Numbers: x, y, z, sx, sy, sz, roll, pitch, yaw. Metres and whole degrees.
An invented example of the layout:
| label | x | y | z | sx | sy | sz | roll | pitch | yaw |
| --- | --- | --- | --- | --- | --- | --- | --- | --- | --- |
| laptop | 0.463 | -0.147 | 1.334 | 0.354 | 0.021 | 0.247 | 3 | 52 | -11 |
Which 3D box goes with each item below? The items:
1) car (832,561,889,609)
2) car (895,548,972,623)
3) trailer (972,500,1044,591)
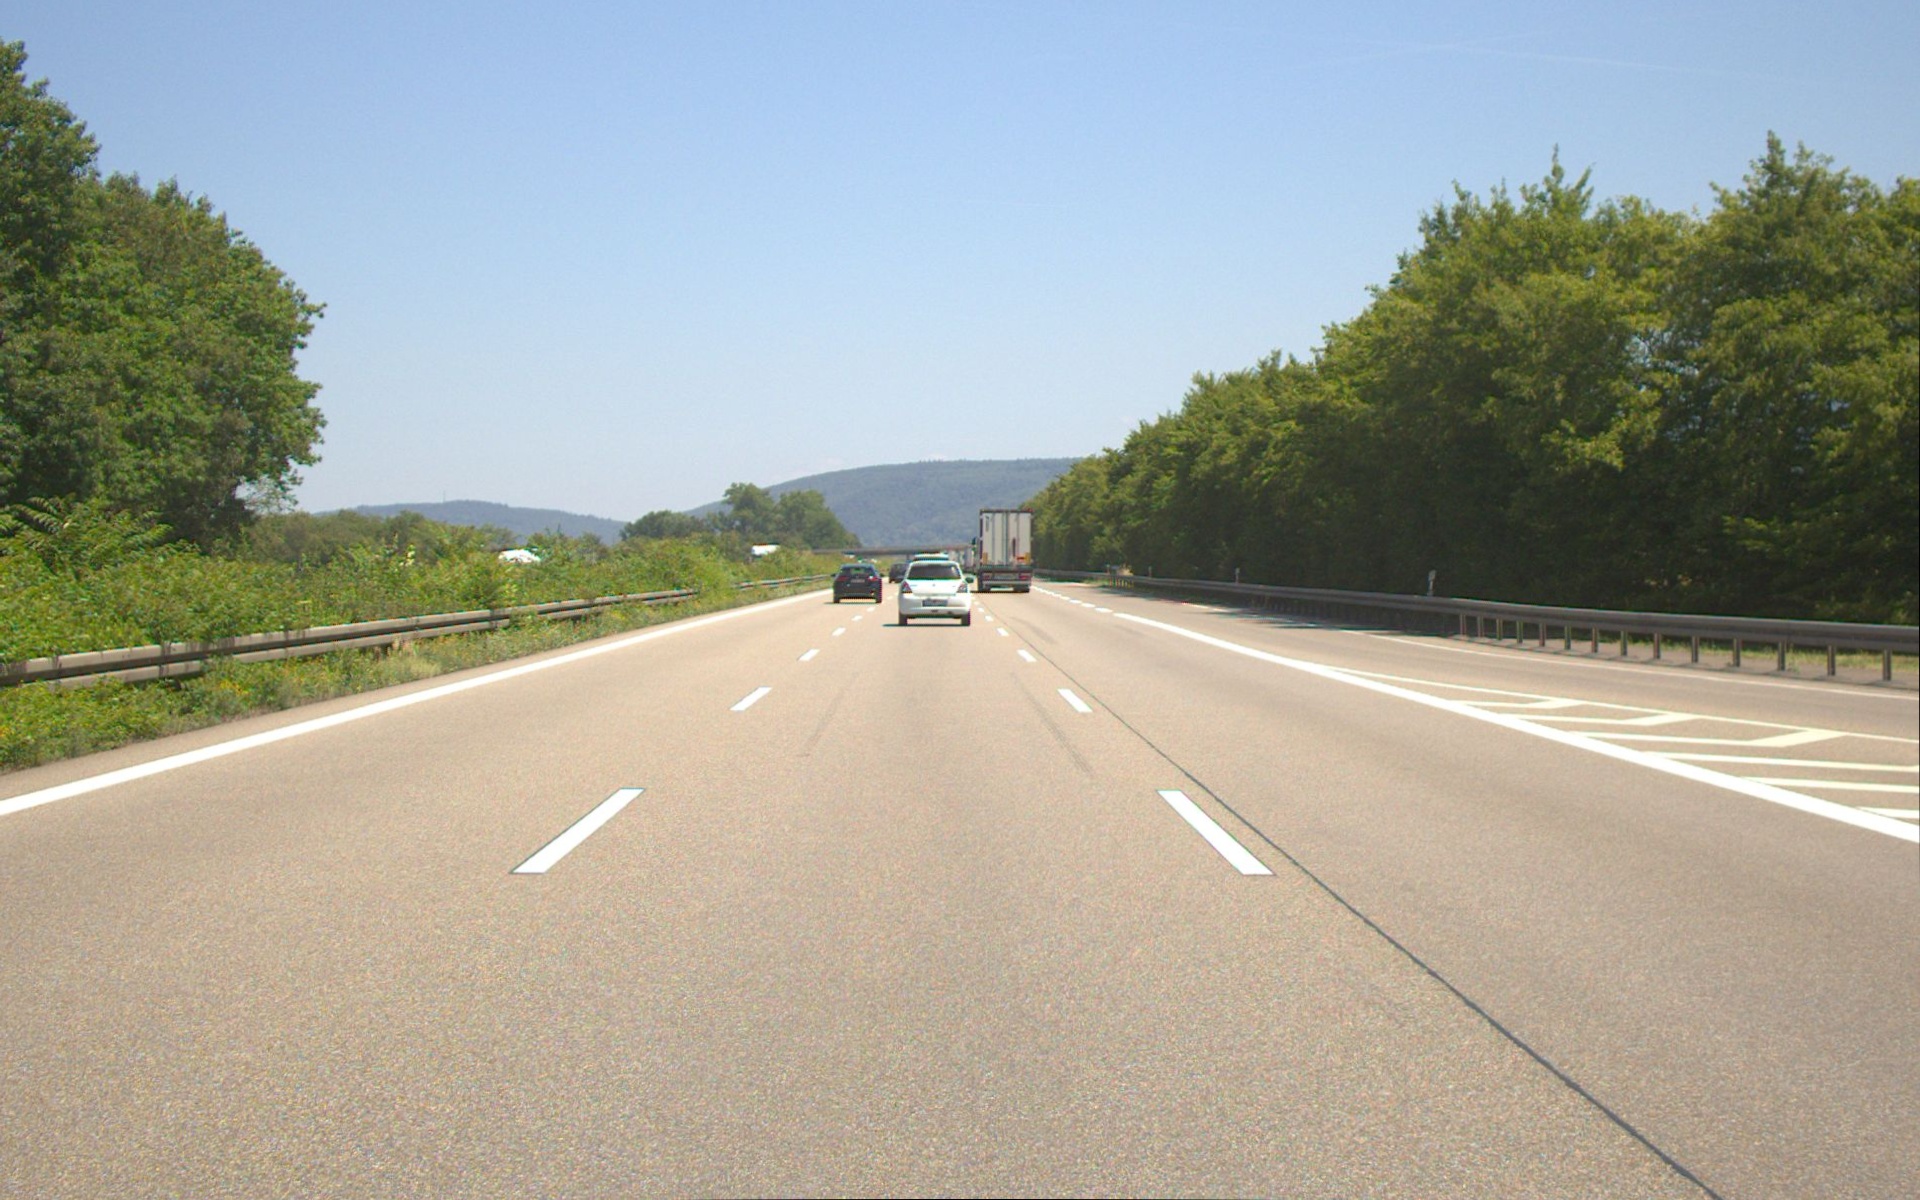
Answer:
| label | x | y | z | sx | sy | sz | roll | pitch | yaw |
| --- | --- | --- | --- | --- | --- | --- | --- | --- | --- |
| car | -3.629 | -0.559 | 125.552 | 1.993 | 1.706 | 4.000 | 1 | 1 | -1 |
| car | -0.643 | -0.354 | 80.707 | 1.732 | 1.678 | 4.000 | -1 | 1 | -1 |
| trailer | 2.503 | -2.702 | 173.299 | 3.218 | 4.330 | 13.628 | 1 | 1 | 2 |
